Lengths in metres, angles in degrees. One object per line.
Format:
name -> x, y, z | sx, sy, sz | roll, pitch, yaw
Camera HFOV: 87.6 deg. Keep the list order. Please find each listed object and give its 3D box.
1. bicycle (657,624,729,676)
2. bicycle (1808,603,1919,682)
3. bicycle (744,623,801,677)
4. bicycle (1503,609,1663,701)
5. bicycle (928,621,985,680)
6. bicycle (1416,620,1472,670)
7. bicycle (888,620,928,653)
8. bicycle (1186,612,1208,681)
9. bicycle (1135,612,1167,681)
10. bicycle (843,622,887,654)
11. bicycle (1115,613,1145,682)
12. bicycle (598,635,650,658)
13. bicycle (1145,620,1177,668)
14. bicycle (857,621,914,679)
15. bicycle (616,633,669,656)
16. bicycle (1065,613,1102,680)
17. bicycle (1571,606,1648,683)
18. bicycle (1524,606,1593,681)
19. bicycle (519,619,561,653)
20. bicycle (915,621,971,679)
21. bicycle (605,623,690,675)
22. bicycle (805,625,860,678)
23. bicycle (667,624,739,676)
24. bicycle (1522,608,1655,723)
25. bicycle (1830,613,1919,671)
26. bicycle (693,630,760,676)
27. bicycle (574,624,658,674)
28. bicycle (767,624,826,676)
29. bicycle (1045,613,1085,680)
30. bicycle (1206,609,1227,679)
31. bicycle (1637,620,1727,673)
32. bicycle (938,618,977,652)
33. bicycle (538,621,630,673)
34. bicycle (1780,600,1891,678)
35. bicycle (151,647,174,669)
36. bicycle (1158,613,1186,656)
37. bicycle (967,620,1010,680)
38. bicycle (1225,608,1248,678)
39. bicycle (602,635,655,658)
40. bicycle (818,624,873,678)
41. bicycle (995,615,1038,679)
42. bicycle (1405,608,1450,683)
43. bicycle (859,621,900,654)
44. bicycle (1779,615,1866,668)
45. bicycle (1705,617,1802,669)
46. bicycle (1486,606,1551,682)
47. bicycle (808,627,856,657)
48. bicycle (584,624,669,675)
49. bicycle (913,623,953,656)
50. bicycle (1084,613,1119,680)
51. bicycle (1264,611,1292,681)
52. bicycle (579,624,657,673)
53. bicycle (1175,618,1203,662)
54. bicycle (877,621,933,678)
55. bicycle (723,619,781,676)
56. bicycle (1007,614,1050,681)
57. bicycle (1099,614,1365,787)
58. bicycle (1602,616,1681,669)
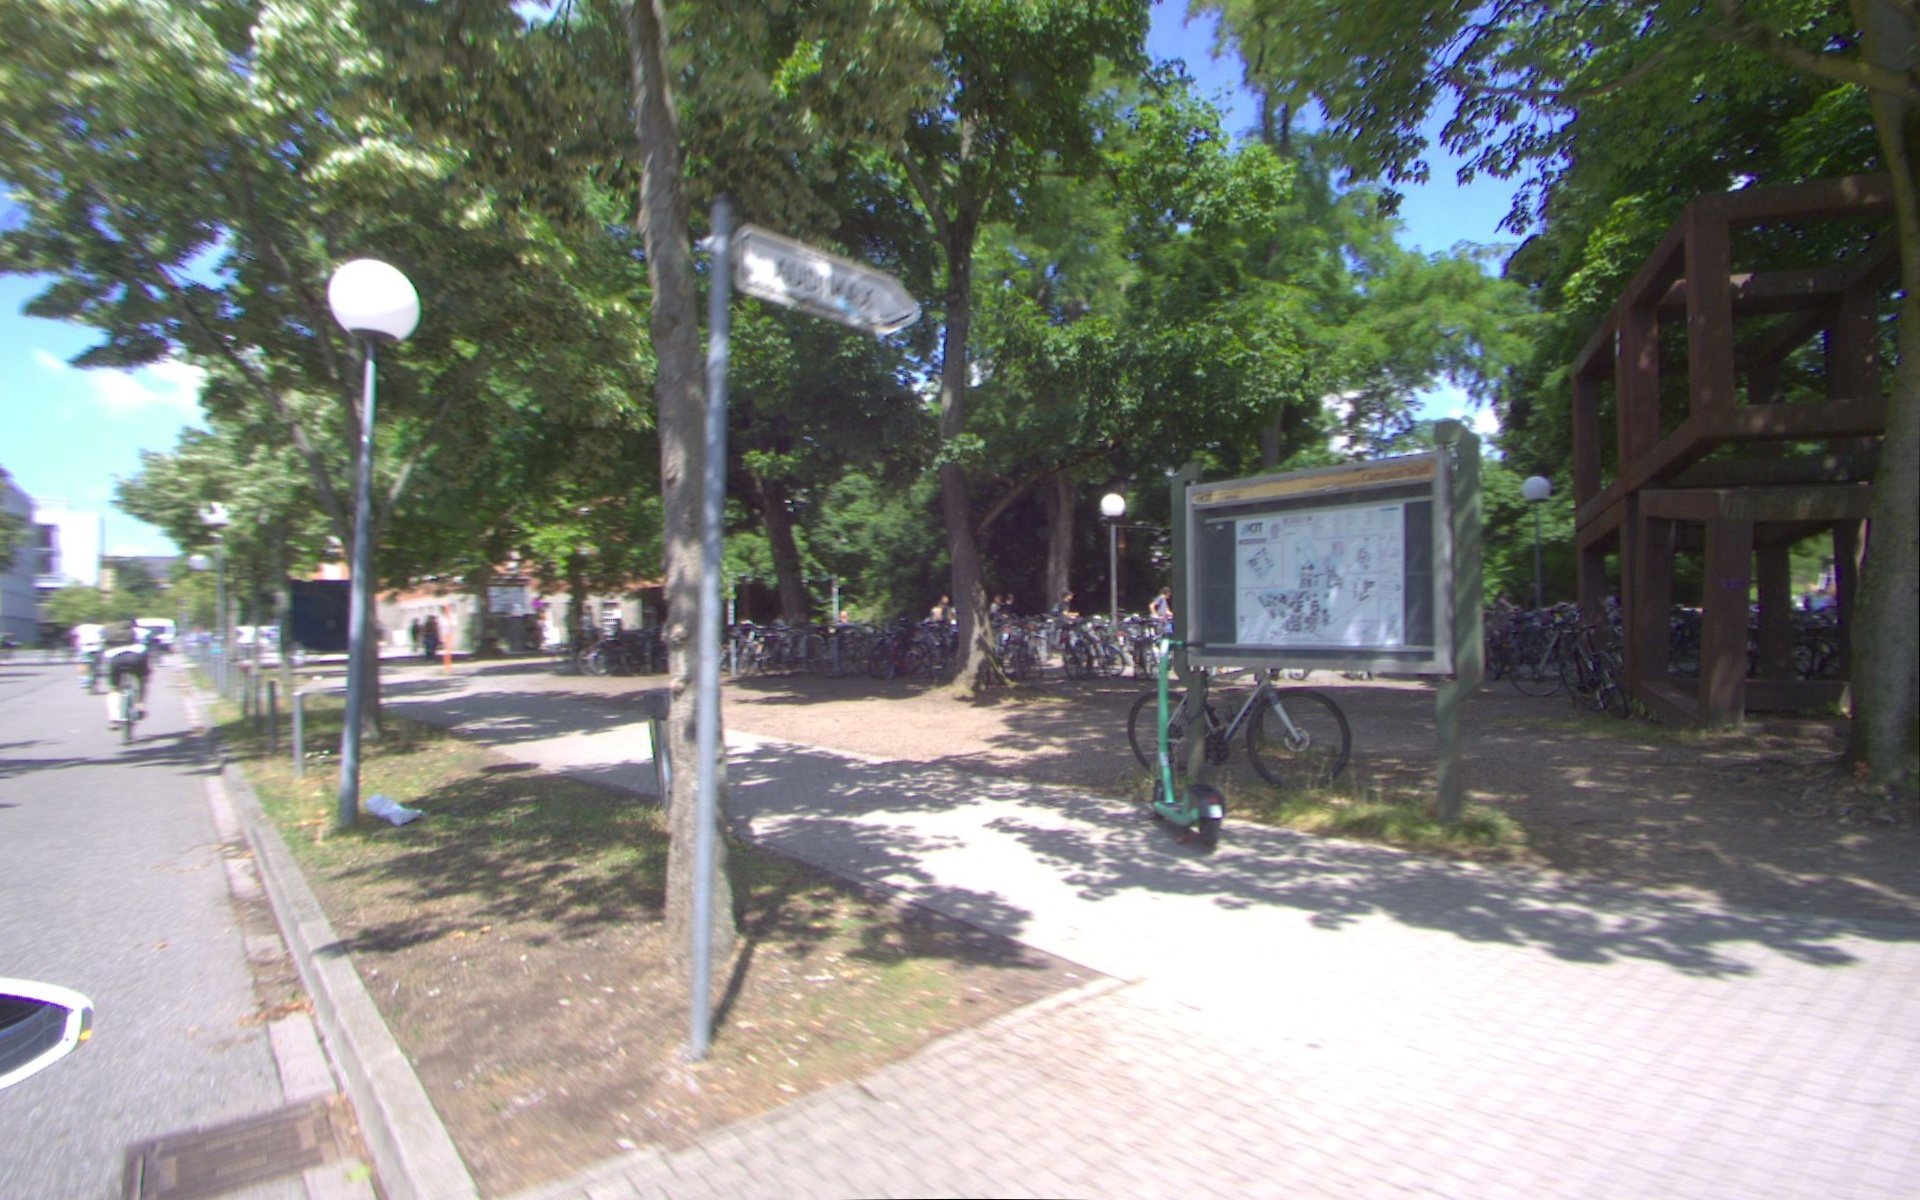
bicycle -> -5.928, 1.094, 22.339 | 0.320, 1.073, 1.906 | -1, -1, 28
bicycle -> 14.368, 0.651, 15.950 | 0.339, 1.185, 1.845 | -1, -1, 6
bicycle -> -3.934, 1.032, 21.133 | 0.485, 1.066, 1.737 | -1, -1, 15
bicycle -> 7.938, 0.706, 12.815 | 1.640, 1.124, 0.475 | -2, -1, 15
bicycle -> -0.050, 0.955, 19.350 | 0.419, 1.084, 1.788 | -1, -1, 23
bicycle -> 10.140, 0.920, 21.029 | 0.469, 0.991, 1.903 | -2, -1, 8
bicycle -> -1.765, 1.251, 34.457 | 0.471, 1.053, 1.776 | -2, -1, 30
bicycle -> 4.283, 0.806, 18.057 | 0.339, 1.185, 1.843 | -1, -1, 14
bicycle -> 3.456, 0.817, 18.204 | 0.339, 1.185, 1.845 | -1, -1, 4
bicycle -> -3.347, 1.343, 35.456 | 0.429, 1.053, 1.949 | -2, -1, 32
bicycle -> 3.091, 0.832, 18.242 | 0.339, 1.185, 1.845 | -1, -1, 4
bicycle -> -16.710, 2.286, 49.781 | 2.367, 1.085, 0.780 | 0, -2, -26
bicycle -> 4.496, 0.966, 22.320 | 0.372, 0.991, 1.899 | -2, -1, 21
bicycle -> -1.479, 0.981, 20.141 | 0.419, 1.084, 1.789 | -1, -1, 21
bicycle -> -15.298, 2.135, 48.286 | 2.368, 1.085, 0.780 | 1, -2, -27
bicycle -> 2.307, 0.837, 18.606 | 0.339, 1.185, 1.842 | -1, -1, 17
bicycle -> 10.576, 0.695, 16.357 | 0.406, 1.185, 1.844 | -1, -1, 12
bicycle -> 9.951, 0.708, 16.711 | 0.406, 1.185, 1.844 | -1, -1, 12
bicycle -> -15.822, 1.362, 37.691 | 1.712, 1.269, 0.528 | -2, 1, 31
bicycle -> -0.315, 0.960, 19.770 | 0.419, 1.084, 1.788 | -1, -1, 23
bicycle -> -7.014, 1.090, 22.552 | 0.400, 1.096, 1.935 | -1, -1, 39
bicycle -> -2.626, 1.048, 20.765 | 0.375, 1.041, 1.790 | -1, -1, 19
bicycle -> -5.666, 1.085, 22.182 | 0.320, 1.073, 1.906 | -1, -1, 28
bicycle -> 6.737, 0.678, 10.838 | 0.621, 1.124, 1.923 | -2, -2, 14
bicycle -> 18.268, 0.832, 19.946 | 0.469, 1.097, 1.472 | 2, -2, -6
bicycle -> -5.029, 1.135, 21.664 | 0.486, 0.921, 1.734 | -1, -1, 22
bicycle -> -7.941, 1.117, 23.193 | 0.400, 1.096, 1.935 | -1, -1, 39
bicycle -> -3.436, 1.037, 21.154 | 0.432, 1.041, 1.793 | -1, -1, 19
bicycle -> 1.989, 0.844, 18.813 | 0.395, 1.185, 1.842 | -1, -1, 17
bicycle -> 4.604, 0.764, 17.973 | 0.339, 1.185, 1.843 | -1, -1, 14
bicycle -> 14.547, 0.913, 20.247 | 0.469, 0.991, 1.904 | -2, -1, 2
bicycle -> -0.082, 1.151, 33.275 | 0.471, 1.053, 1.745 | -2, -1, 30
bicycle -> -9.018, 1.112, 24.086 | 0.644, 1.182, 2.006 | -1, -1, 39
bicycle -> 14.043, 0.613, 16.126 | 0.339, 1.185, 1.845 | -1, -1, 6
bicycle -> -36.718, 2.666, 46.127 | 0.801, 1.015, 2.108 | 1, -3, -38
bicycle -> 5.222, 0.829, 24.609 | 0.372, 0.991, 1.899 | -2, -1, 21
bicycle -> 0.564, 0.940, 19.252 | 0.419, 1.084, 1.791 | -1, -1, 15
bicycle -> 4.924, 0.751, 17.886 | 0.339, 1.185, 1.843 | -1, -1, 14
bicycle -> -16.210, 2.276, 49.020 | 2.371, 1.085, 0.779 | 0, -2, -32
bicycle -> -2.327, 1.023, 20.552 | 0.375, 1.041, 1.790 | -1, -1, 19
bicycle -> 1.117, 0.883, 19.518 | 0.395, 1.185, 1.790 | -1, -1, 17
bicycle -> 7.827, 0.739, 16.814 | 0.346, 1.185, 1.843 | -1, -1, 14
bicycle -> -2.752, 1.283, 34.327 | 0.428, 1.053, 1.776 | -2, -1, 30
bicycle -> 17.131, 0.808, 19.937 | 0.470, 0.991, 1.902 | -2, -1, 13
bicycle -> 15.983, 0.851, 20.238 | 0.469, 0.991, 1.904 | -2, -1, 2
bicycle -> 9.256, 0.710, 16.655 | 0.406, 1.185, 1.844 | -1, -1, 12
bicycle -> -4.573, 1.509, 35.933 | 0.604, 0.991, 1.949 | -2, -1, 32
bicycle -> -7.608, 1.104, 22.927 | 0.400, 1.096, 1.935 | -1, -1, 39
bicycle -> -0.917, 1.329, 34.138 | 0.471, 1.053, 1.824 | -2, -1, 30
bicycle -> 2.633, 0.829, 18.484 | 0.339, 1.185, 1.842 | -1, -1, 17
bicycle -> 5.645, 0.791, 17.827 | 0.346, 1.185, 1.843 | -1, -1, 14
bicycle -> -8.053, 1.122, 23.645 | 0.433, 1.096, 1.760 | -1, -1, 39
bicycle -> 5.601, 0.960, 24.437 | 0.372, 0.991, 1.899 | -2, -1, 21
bicycle -> -1.077, 0.966, 19.980 | 0.419, 1.084, 1.789 | -1, -1, 21
bicycle -> -4.489, 1.010, 21.700 | 0.485, 1.170, 1.737 | -1, -1, 15
bicycle -> 1.309, 0.861, 18.786 | 0.395, 1.185, 1.790 | -1, -1, 17
bicycle -> 1.893, 0.706, 7.042 | 1.663, 1.096, 0.626 | -4, -4, 28
bicycle -> 13.698, 0.834, 20.194 | 0.469, 0.991, 1.903 | -2, -1, 7
